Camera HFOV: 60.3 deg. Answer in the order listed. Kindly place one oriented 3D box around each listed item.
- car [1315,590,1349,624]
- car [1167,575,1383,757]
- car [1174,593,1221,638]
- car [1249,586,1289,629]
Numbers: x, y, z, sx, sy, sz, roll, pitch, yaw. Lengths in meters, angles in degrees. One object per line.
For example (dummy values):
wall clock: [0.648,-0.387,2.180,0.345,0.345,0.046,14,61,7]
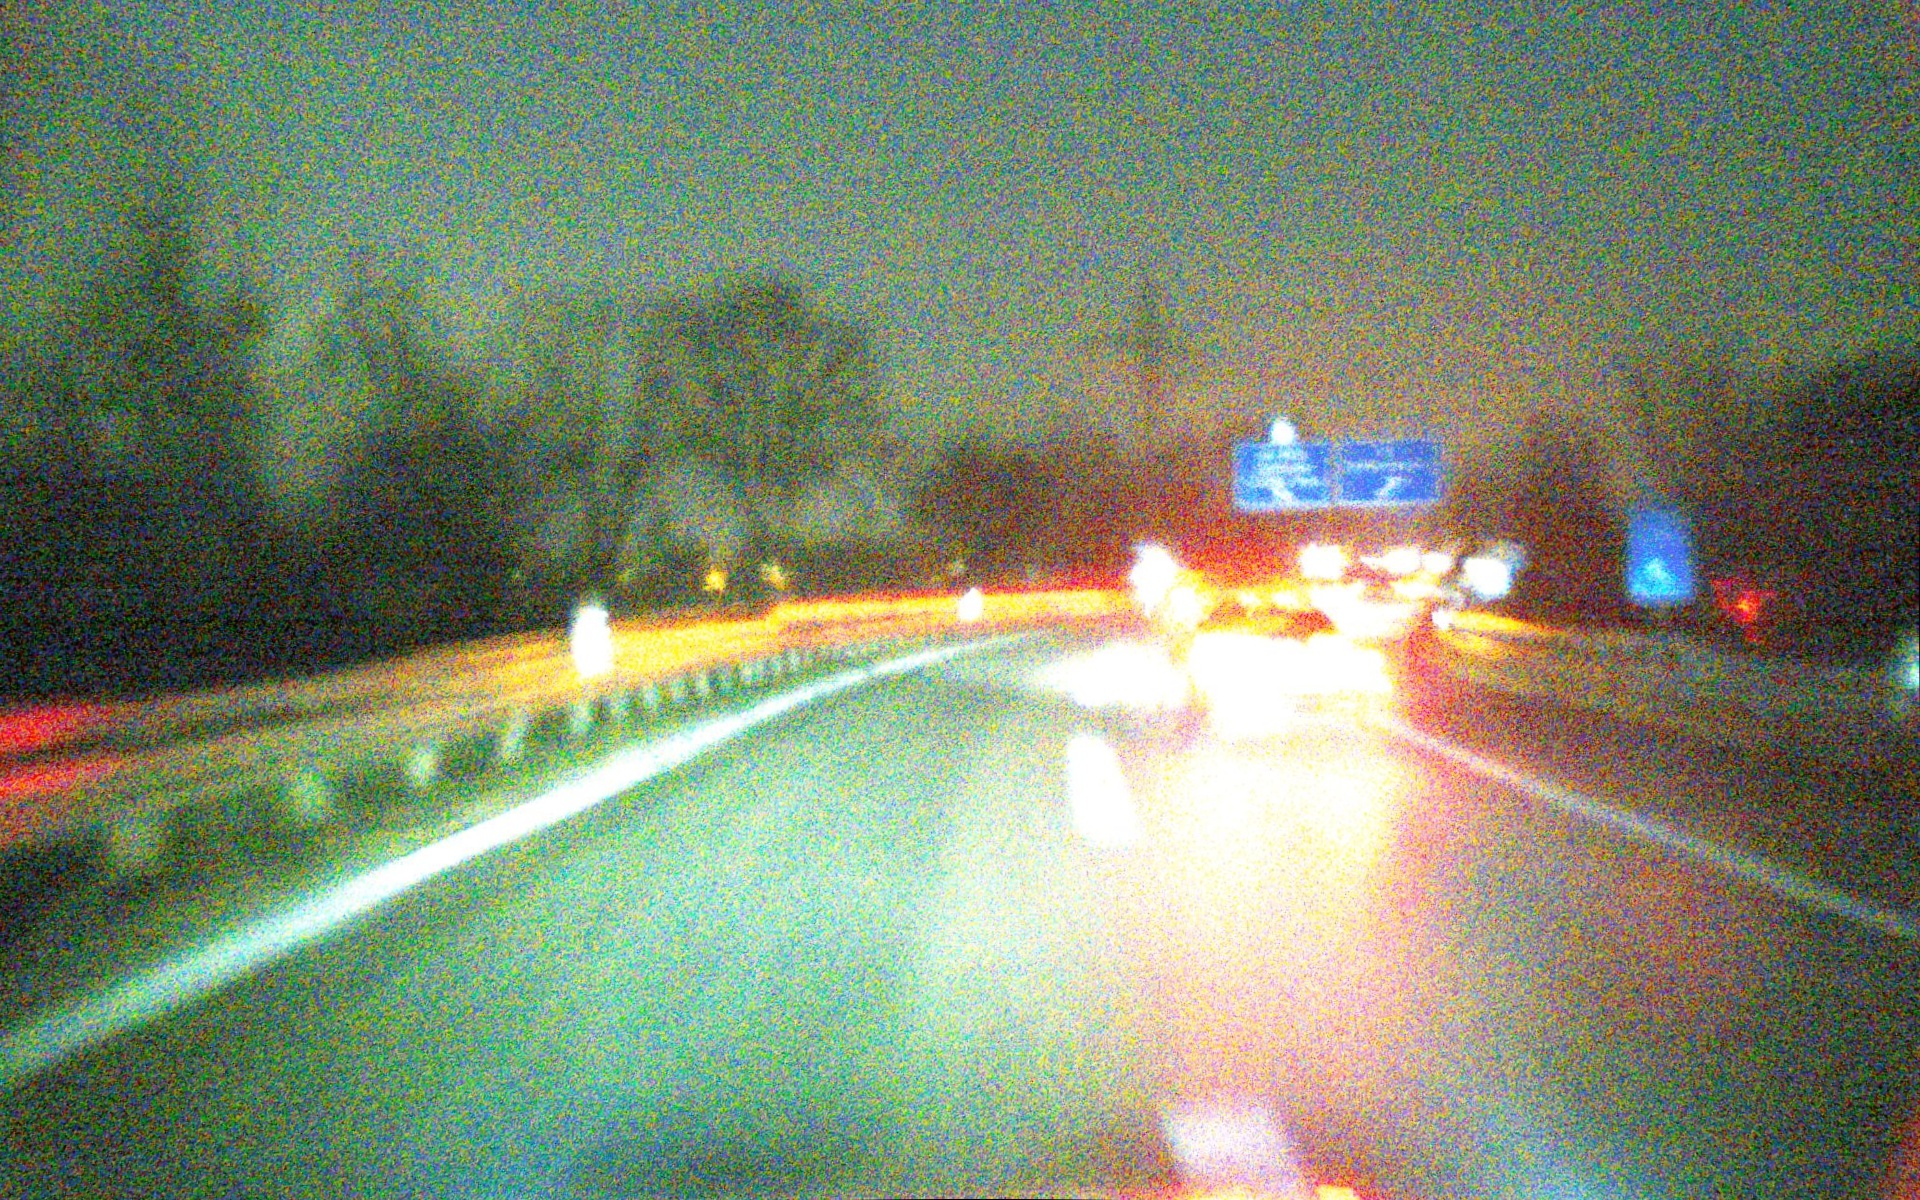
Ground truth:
car: [22.893,0.447,101.674,1.855,2.033,4.048,0,0,16]
car: [3.238,0.608,17.737,1.821,1.676,4.071,2,0,5]
car: [9.625,0.622,67.039,1.855,1.751,4.049,0,0,8]
car: [15.220,0.358,81.449,1.855,2.076,4.049,0,0,12]
